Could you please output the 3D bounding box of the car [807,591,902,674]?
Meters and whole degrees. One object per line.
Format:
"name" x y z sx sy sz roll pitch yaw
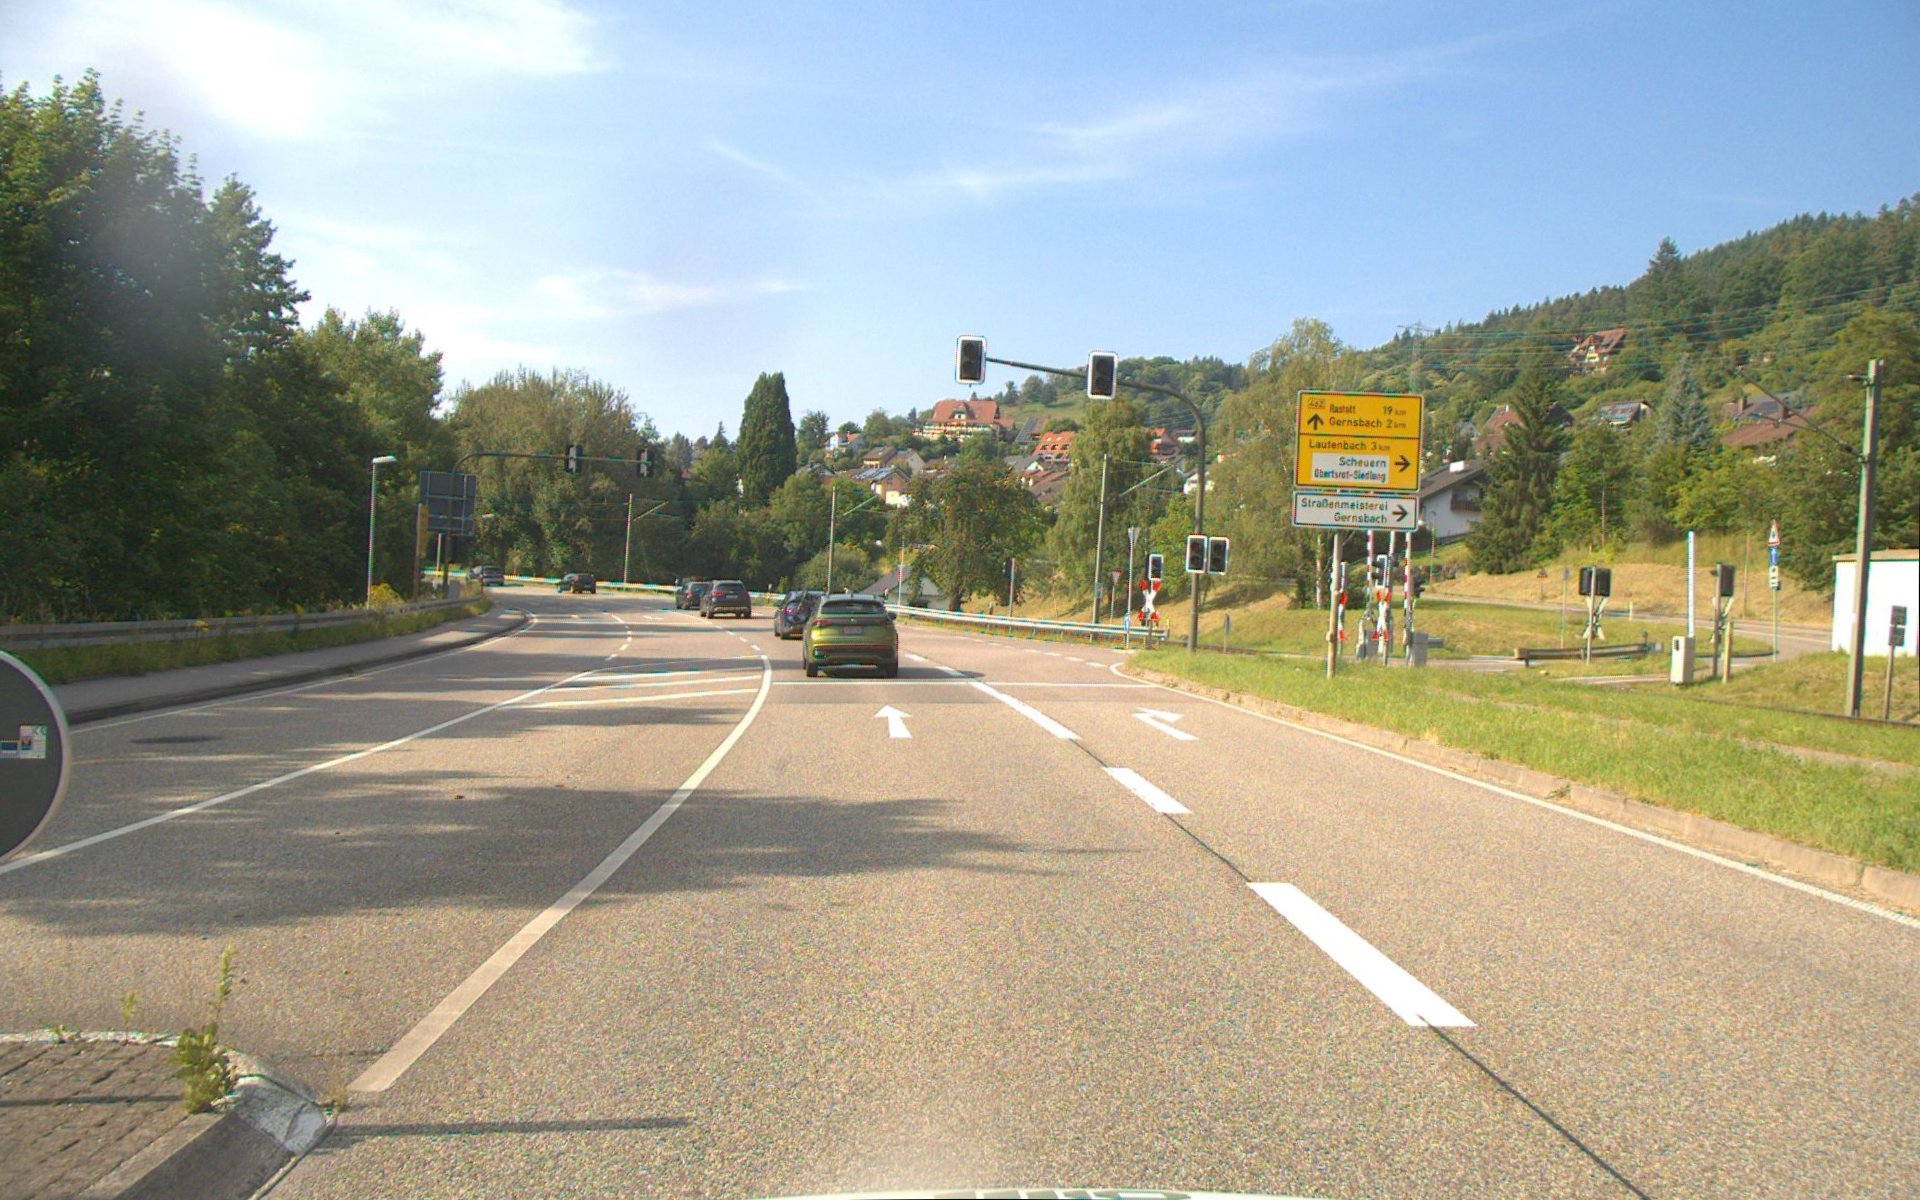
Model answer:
"car" -2.001 0.564 31.446 1.681 1.480 3.997 0 0 -4

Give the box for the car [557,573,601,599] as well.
"car" -27.267 -1.023 118.423 1.973 1.775 3.960 1 0 -30

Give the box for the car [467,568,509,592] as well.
"car" -38.174 -1.654 133.646 2.047 1.842 3.949 0 2 -36

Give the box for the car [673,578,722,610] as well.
"car" -13.716 -0.338 86.361 1.822 1.553 3.640 1 1 -21

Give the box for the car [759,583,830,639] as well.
"car" -5.029 0.311 49.909 1.638 1.586 3.987 1 0 -13

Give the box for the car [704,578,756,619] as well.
"car" -10.188 -0.086 73.094 1.848 1.716 3.986 1 0 -14
